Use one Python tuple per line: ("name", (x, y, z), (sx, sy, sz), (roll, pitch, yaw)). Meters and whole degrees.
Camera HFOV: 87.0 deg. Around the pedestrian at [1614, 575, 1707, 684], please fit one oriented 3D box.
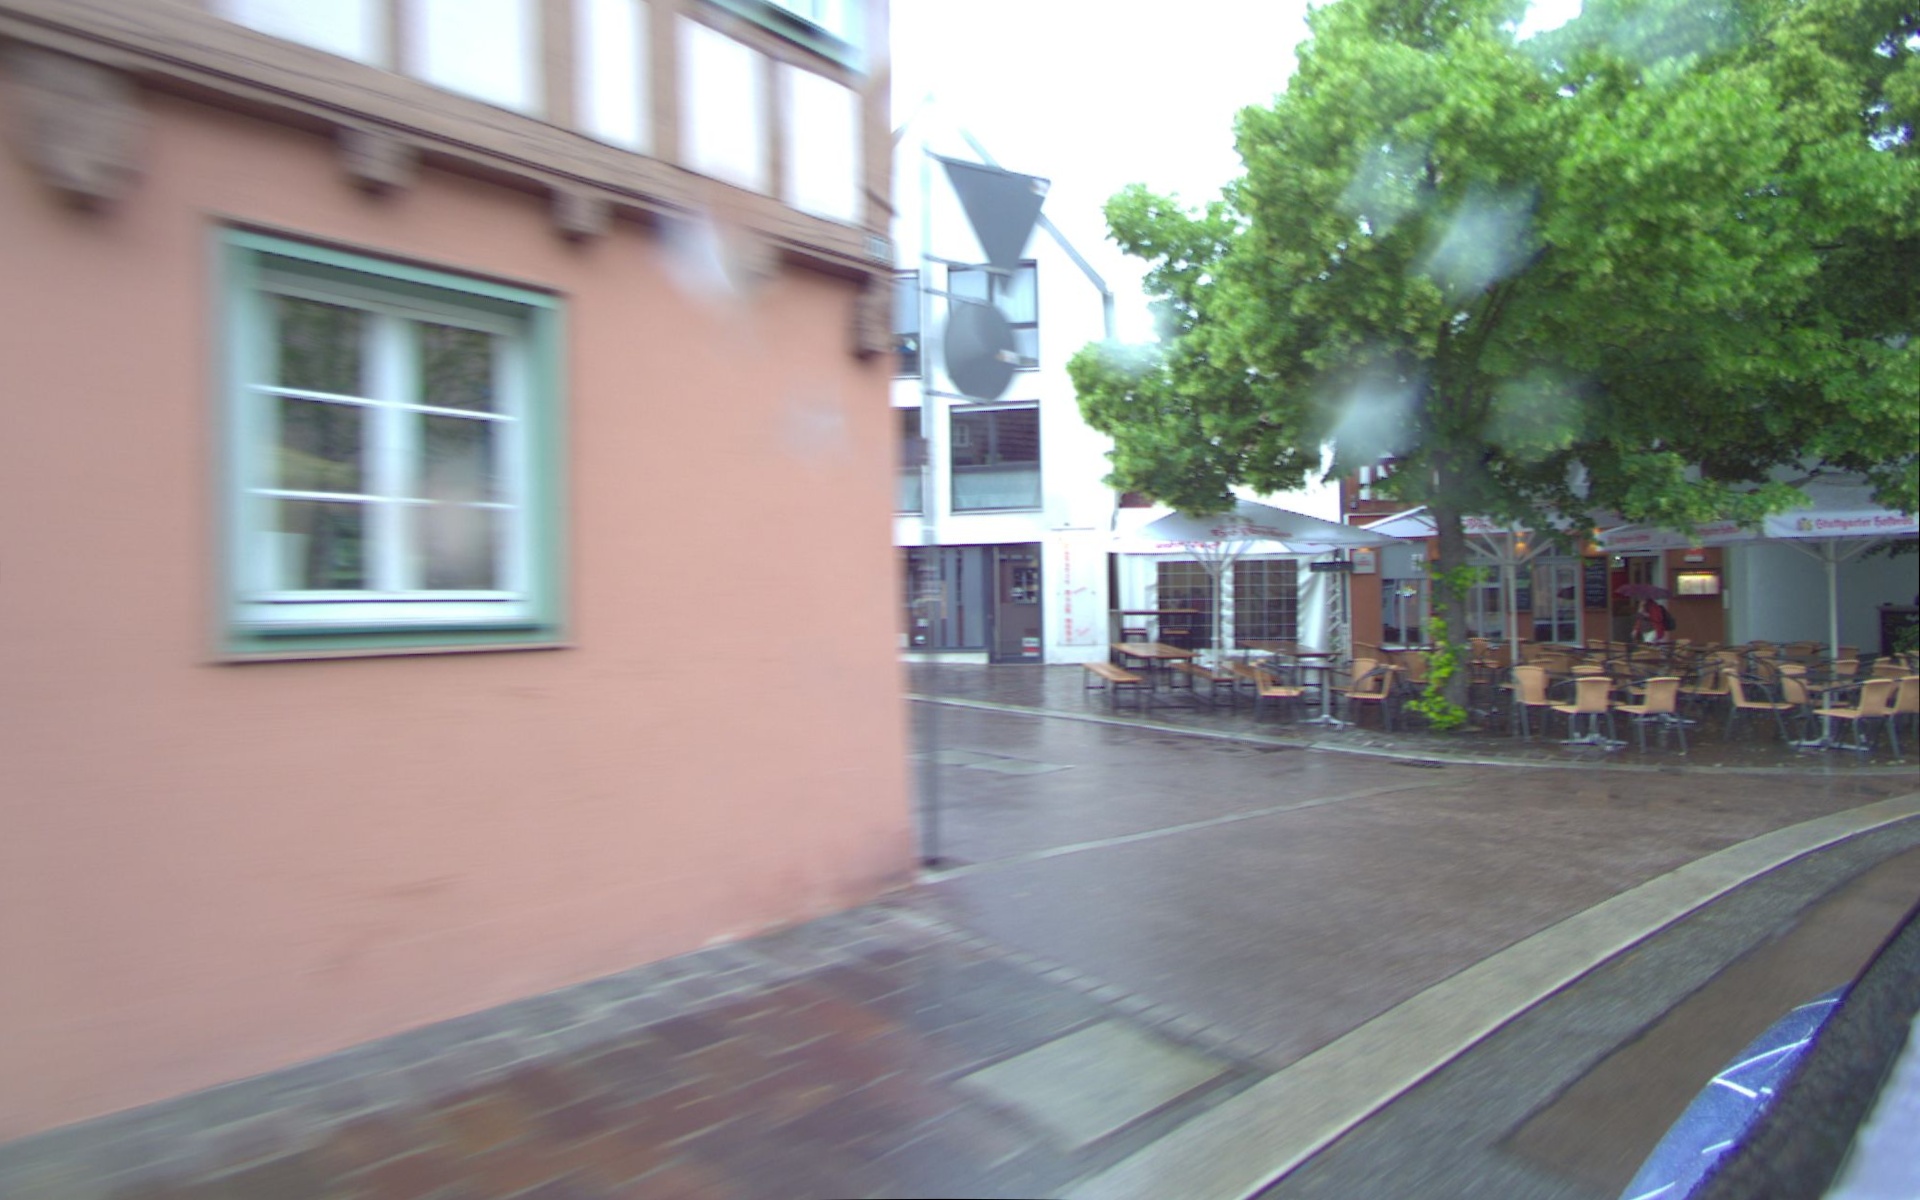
("pedestrian", (11.660, 0.478, 16.877), (0.873, 1.735, 0.887), (-2, 0, 2))
